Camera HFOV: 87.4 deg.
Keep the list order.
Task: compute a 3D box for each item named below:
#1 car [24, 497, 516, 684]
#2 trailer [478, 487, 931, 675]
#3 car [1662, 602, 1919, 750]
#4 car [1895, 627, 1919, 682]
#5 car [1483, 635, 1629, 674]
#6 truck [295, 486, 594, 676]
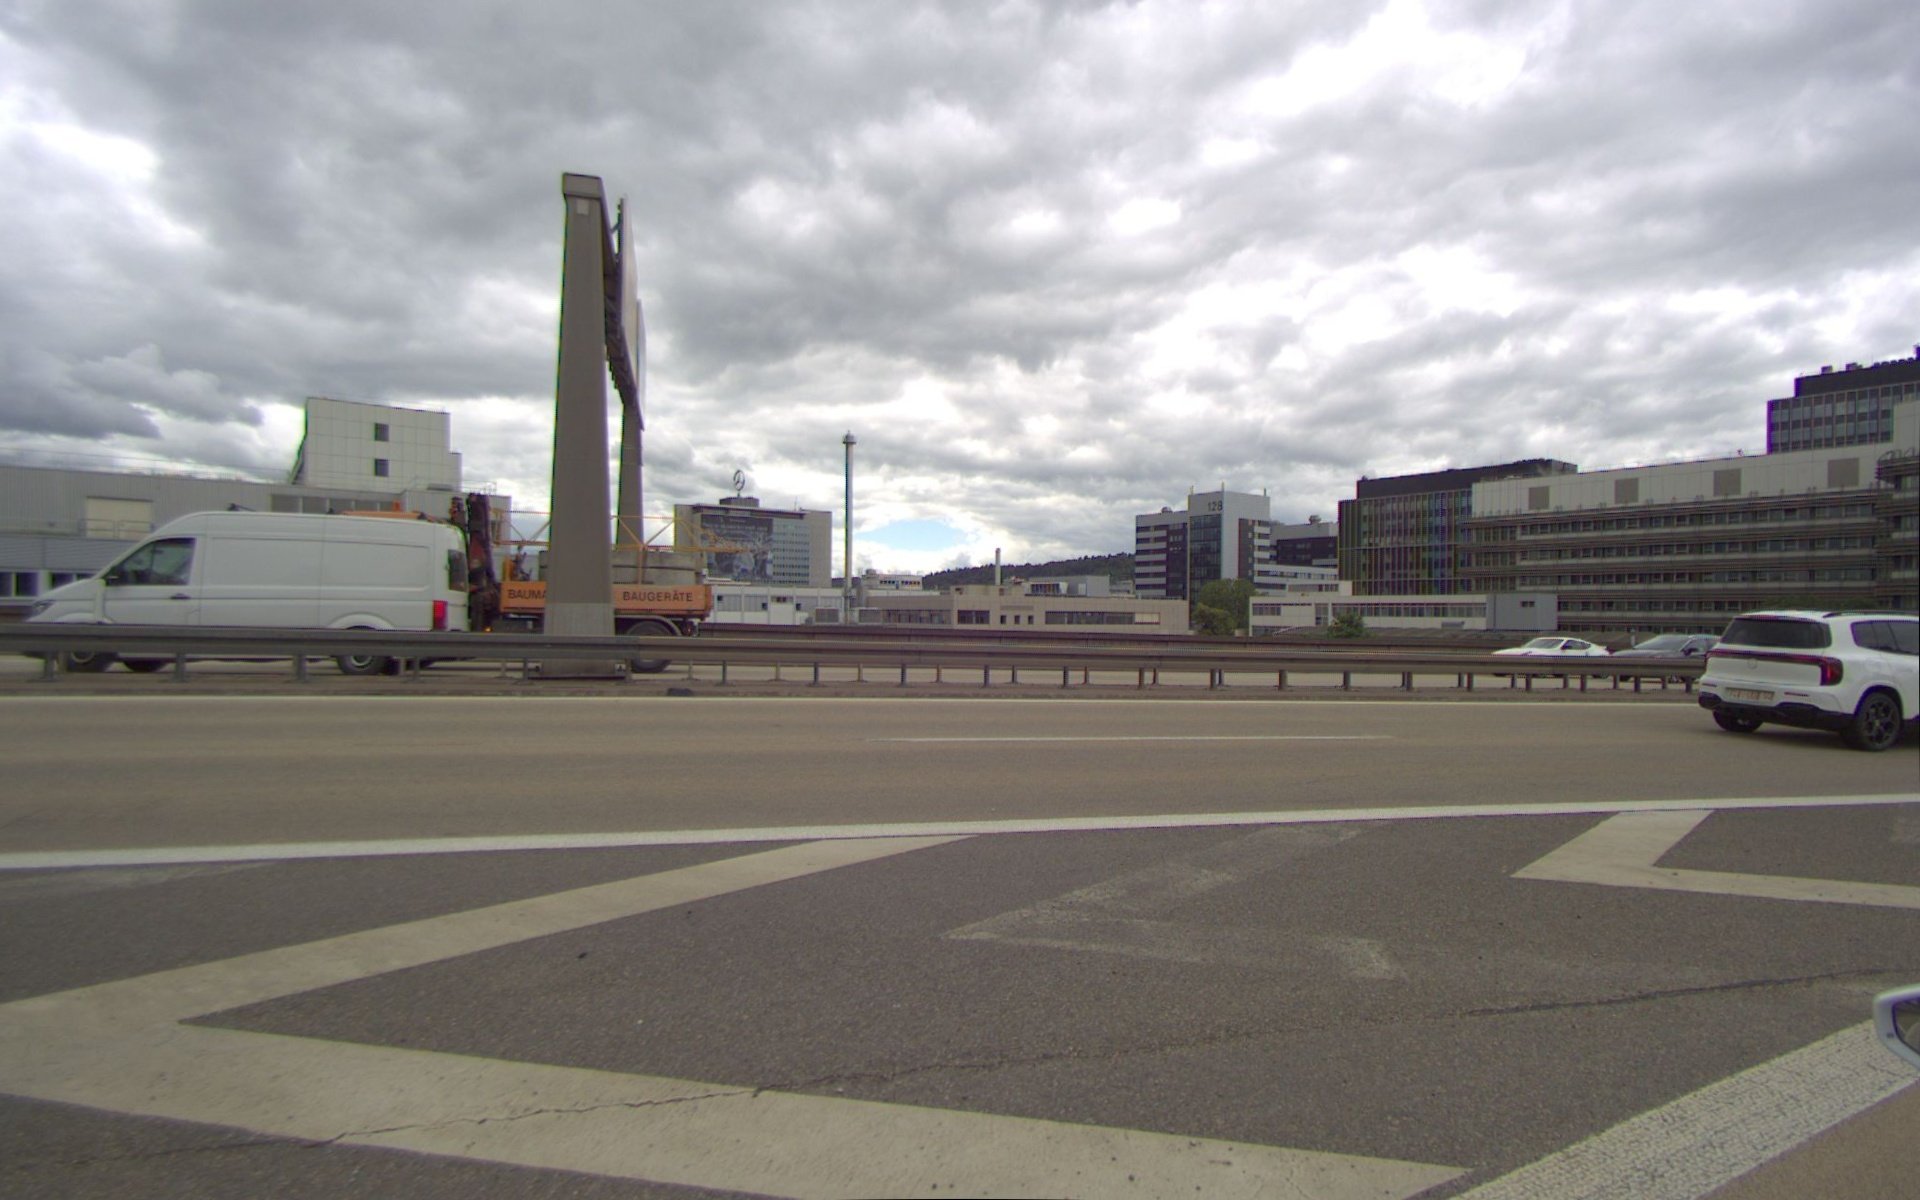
[{"bbox_3d":[-10.821,-0.069,16.517,6.090,2.679,2.578,1,-1,-17],"label":"car"},{"bbox_3d":[-5.438,-0.248,22.399,9.209,3.684,2.733,1,-2,-18],"label":"trailer"},{"bbox_3d":[12.194,0.962,13.370,4.809,1.691,1.994,2,1,-15],"label":"car"},{"bbox_3d":[28.999,1.588,28.700,3.581,1.571,1.695,2,-3,-15],"label":"car"},{"bbox_3d":[19.589,1.780,33.053,4.209,1.251,1.643,1,-2,-15],"label":"car"},{"bbox_3d":[-10.338,-0.266,20.768,5.025,3.525,2.741,1,-2,-18],"label":"truck"}]
